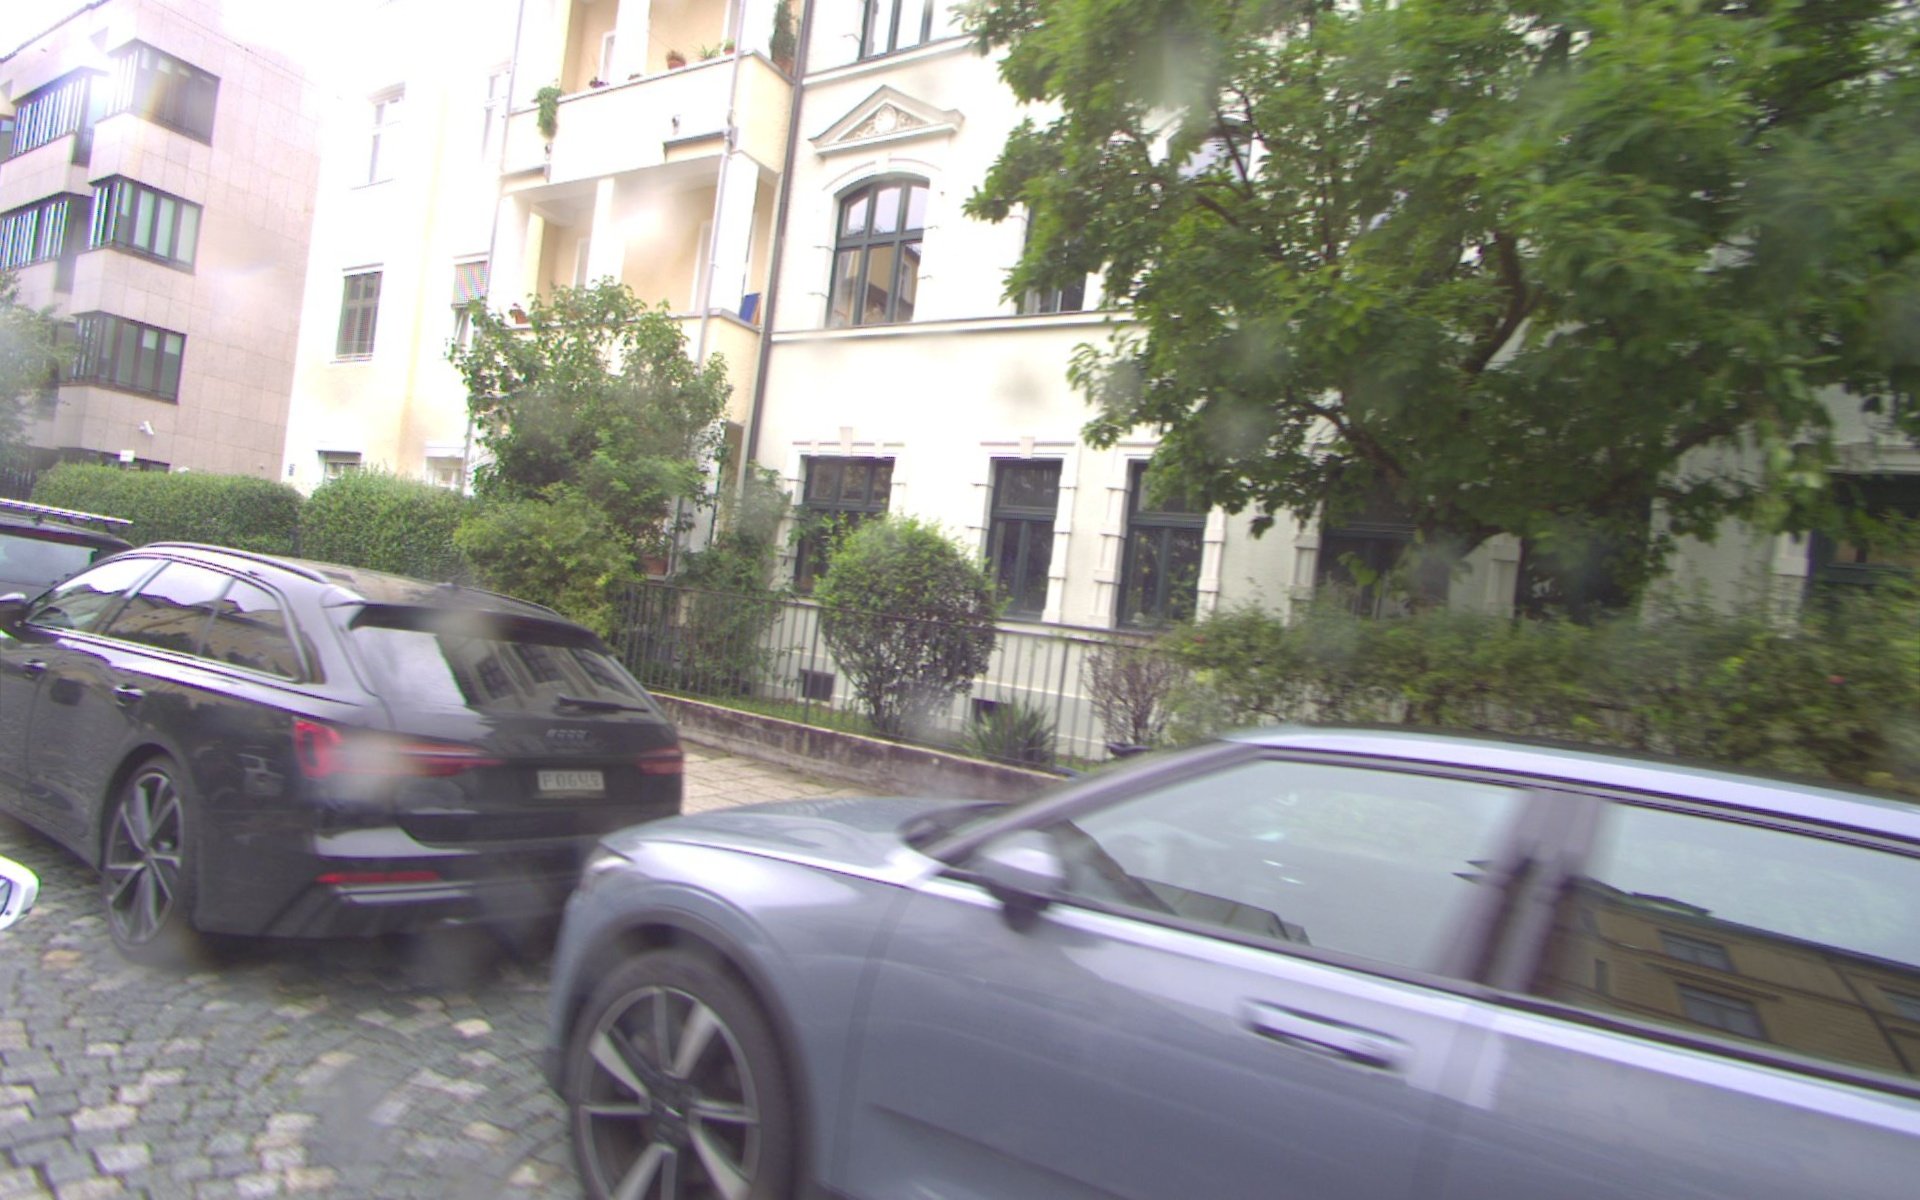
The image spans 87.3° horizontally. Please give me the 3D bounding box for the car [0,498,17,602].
[{"bbox_3d":[-11.856,-0.552,10.255,4.904,1.569,1.998,7,-3,33],"label":"car"}]

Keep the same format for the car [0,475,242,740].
[{"bbox_3d":[-7.718,-0.108,7.754,4.222,1.672,1.898,7,-3,31],"label":"car"}]

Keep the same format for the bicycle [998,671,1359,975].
[{"bbox_3d":[1.122,1.087,5.252,1.617,1.209,0.582,7,-1,17],"label":"bicycle"}]

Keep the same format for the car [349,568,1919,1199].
[{"bbox_3d":[0.853,1.005,2.399,4.735,1.504,1.888,6,-4,32],"label":"car"}]

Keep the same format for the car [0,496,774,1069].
[{"bbox_3d":[-3.475,0.463,4.946,4.967,1.504,1.824,6,-4,32],"label":"car"}]
